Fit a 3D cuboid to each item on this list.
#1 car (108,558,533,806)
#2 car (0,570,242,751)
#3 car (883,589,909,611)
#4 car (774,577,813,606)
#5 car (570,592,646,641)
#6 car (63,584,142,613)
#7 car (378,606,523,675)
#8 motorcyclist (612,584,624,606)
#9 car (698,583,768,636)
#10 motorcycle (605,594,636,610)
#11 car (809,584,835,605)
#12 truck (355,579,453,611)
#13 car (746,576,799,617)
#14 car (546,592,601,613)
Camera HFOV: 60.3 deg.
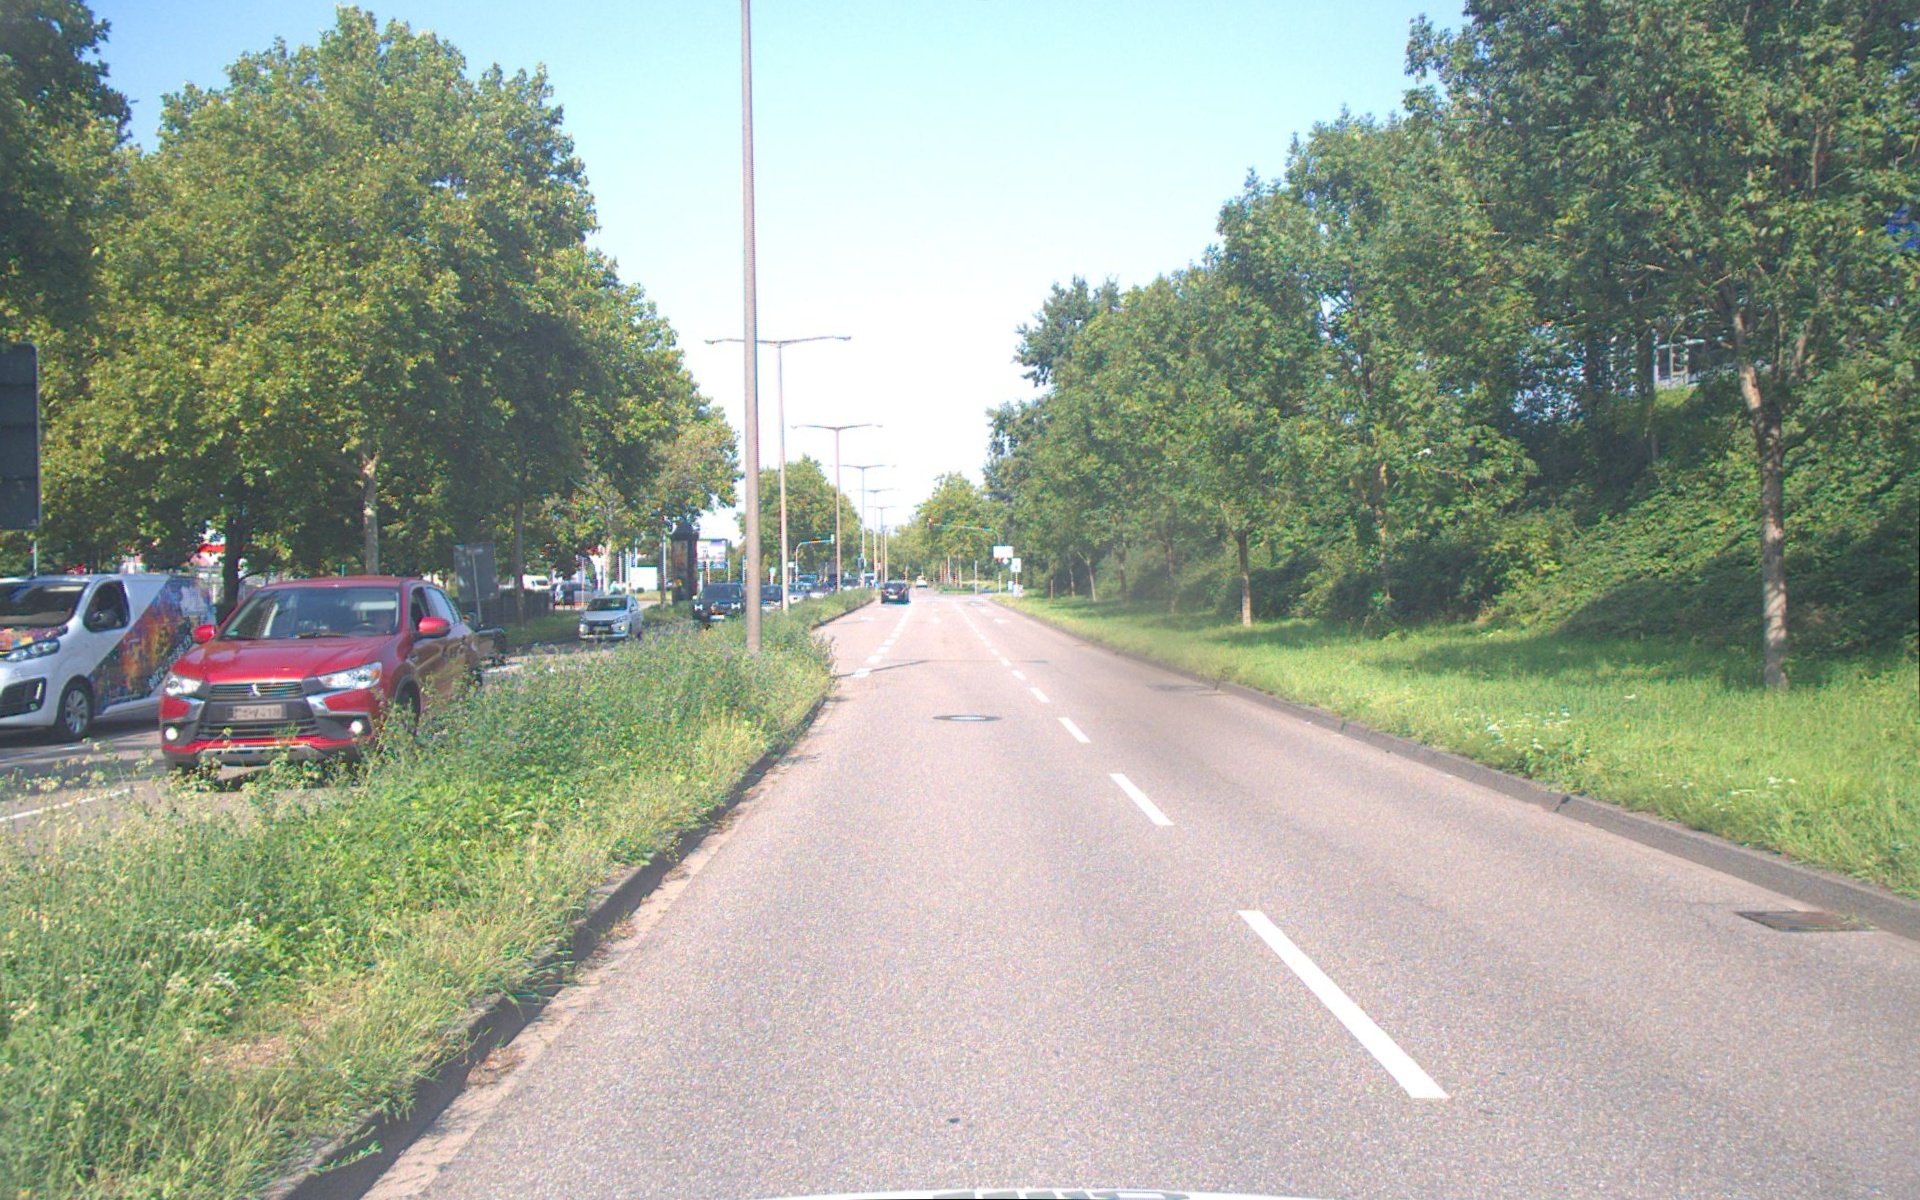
[{"bbox_3d":[-5.217,0.578,14.268,1.914,1.754,4.586,-1,0,-1],"label":"car"},{"bbox_3d":[-10.700,0.659,19.902,1.944,1.891,4.968,-3,0,-1],"label":"car"},{"bbox_3d":[-4.390,-0.018,113.802,1.657,1.512,3.999,-1,0,-1],"label":"car"},{"bbox_3d":[-9.378,-0.464,93.401,1.841,1.622,4.107,-1,0,-1],"label":"car"},{"bbox_3d":[-11.538,0.517,54.439,1.755,1.508,3.998,-1,0,-2],"label":"car"},{"bbox_3d":[-52.022,-0.092,100.354,3.963,1.709,1.843,0,0,-41],"label":"car"},{"bbox_3d":[-10.903,0.824,35.667,1.754,1.285,4.096,-2,0,1],"label":"car"},{"bbox_3d":[-24.619,-0.378,119.117,0.676,1.599,0.674,0,0,-37],"label":"motorcyclist"},{"bbox_3d":[-8.353,0.309,61.138,1.953,1.790,4.476,-3,0,-1],"label":"car"},{"bbox_3d":[-24.468,0.165,119.229,2.054,1.156,0.669,-1,0,-37],"label":"motorcycle"},{"bbox_3d":[-9.859,-0.388,118.120,1.642,1.512,3.491,0,0,-2],"label":"car"},{"bbox_3d":[-57.039,-0.522,169.775,8.919,3.009,3.468,-2,1,-37],"label":"truck"},{"bbox_3d":[-8.668,-0.174,76.921,1.953,1.790,4.306,-3,0,-1],"label":"car"},{"bbox_3d":[-28.138,0.162,120.510,3.663,1.468,1.447,0,0,-38],"label":"car"}]
